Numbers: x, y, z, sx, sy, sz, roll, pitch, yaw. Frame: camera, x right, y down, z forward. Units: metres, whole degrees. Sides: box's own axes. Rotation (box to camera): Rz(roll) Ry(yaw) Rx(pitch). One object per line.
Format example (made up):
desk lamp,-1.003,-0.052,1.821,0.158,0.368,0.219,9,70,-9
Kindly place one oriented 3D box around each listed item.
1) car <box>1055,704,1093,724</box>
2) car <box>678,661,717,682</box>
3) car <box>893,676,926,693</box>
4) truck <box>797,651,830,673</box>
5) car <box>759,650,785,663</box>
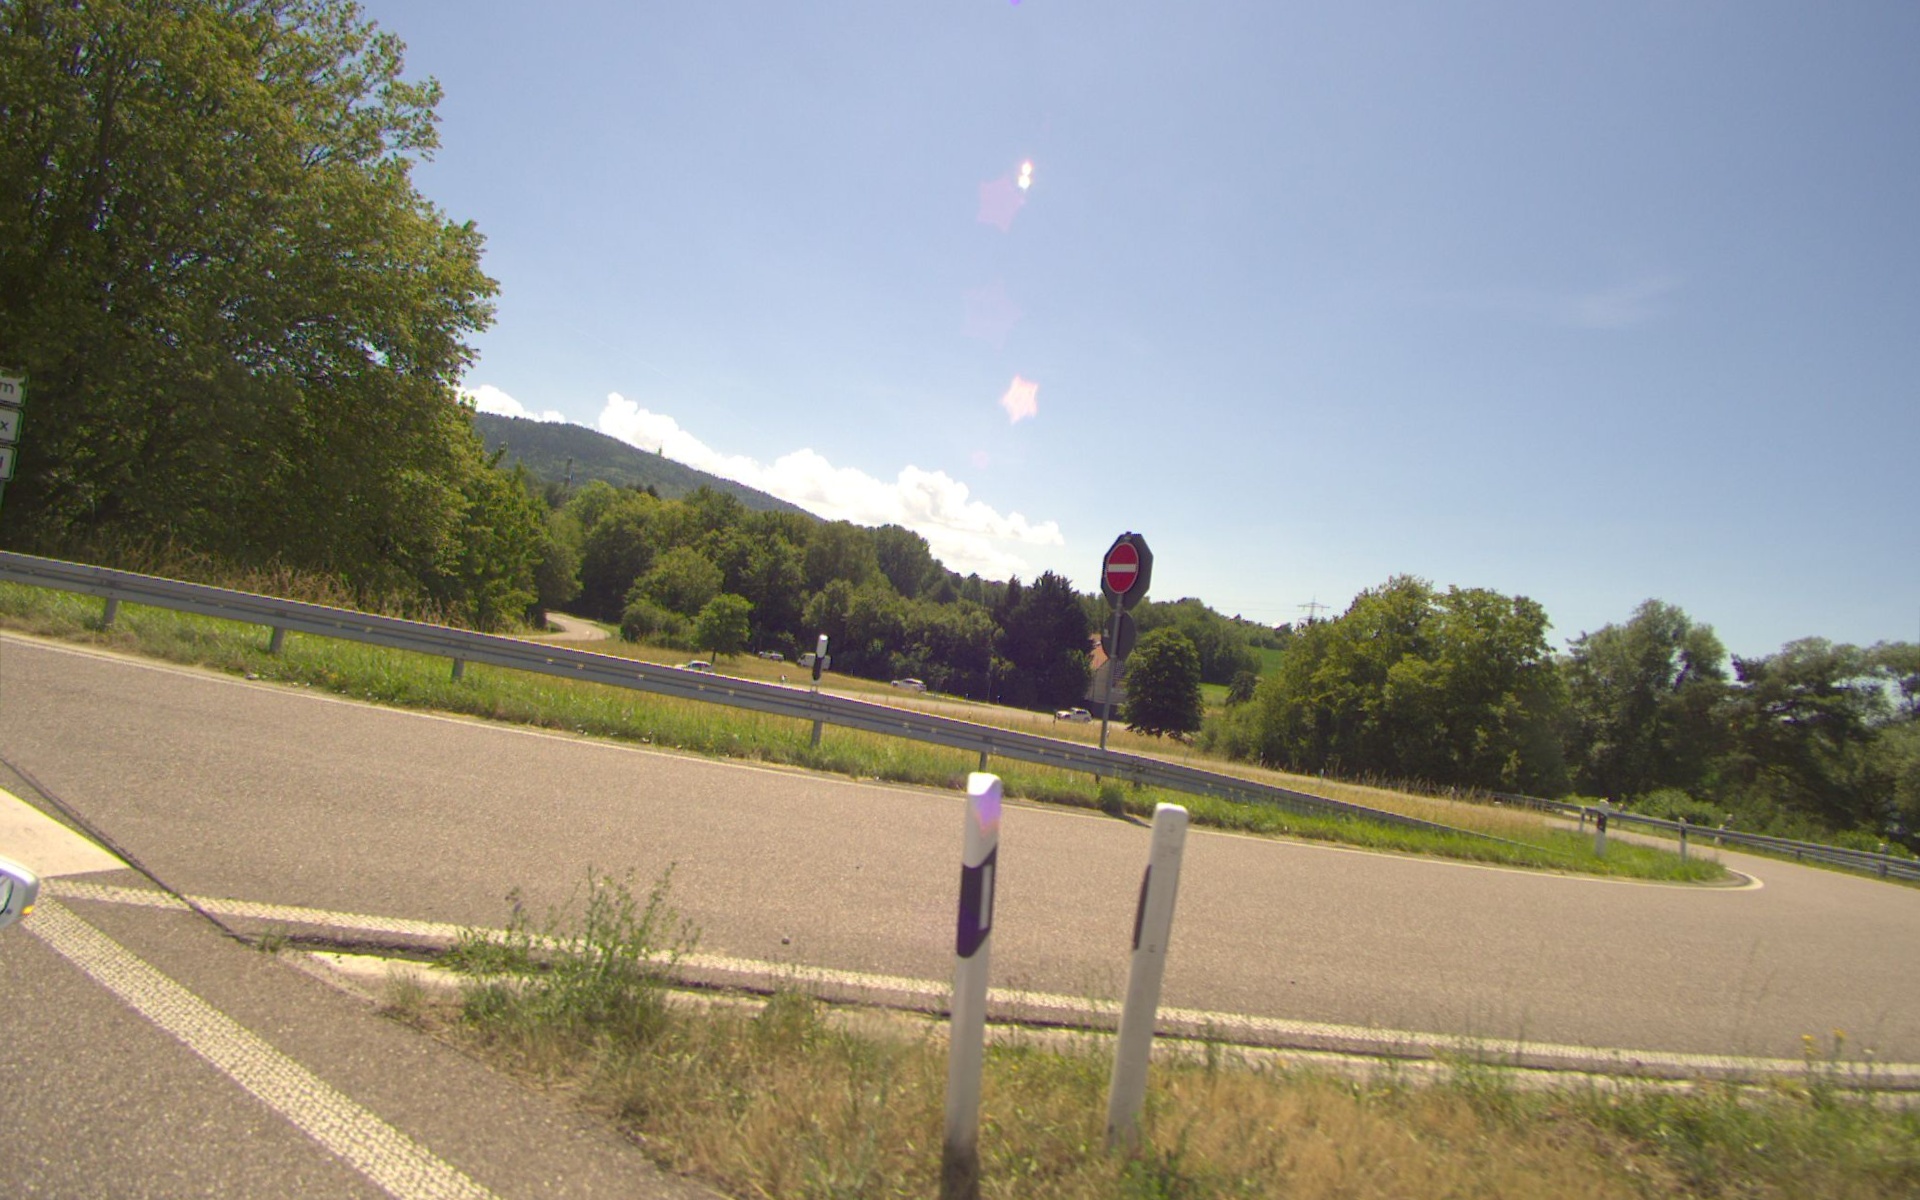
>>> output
car,13.398,13.388,118.099,4.222,1.652,1.507,10,-3,-25
car,-25.361,6.921,97.138,3.408,1.519,1.458,7,1,-20
car,-6.318,10.645,126.186,3.776,1.554,1.314,8,-2,20
truck,-19.947,8.410,136.774,4.126,2.287,1.644,8,1,34
car,-26.528,7.981,142.109,3.305,1.418,1.705,8,1,34
